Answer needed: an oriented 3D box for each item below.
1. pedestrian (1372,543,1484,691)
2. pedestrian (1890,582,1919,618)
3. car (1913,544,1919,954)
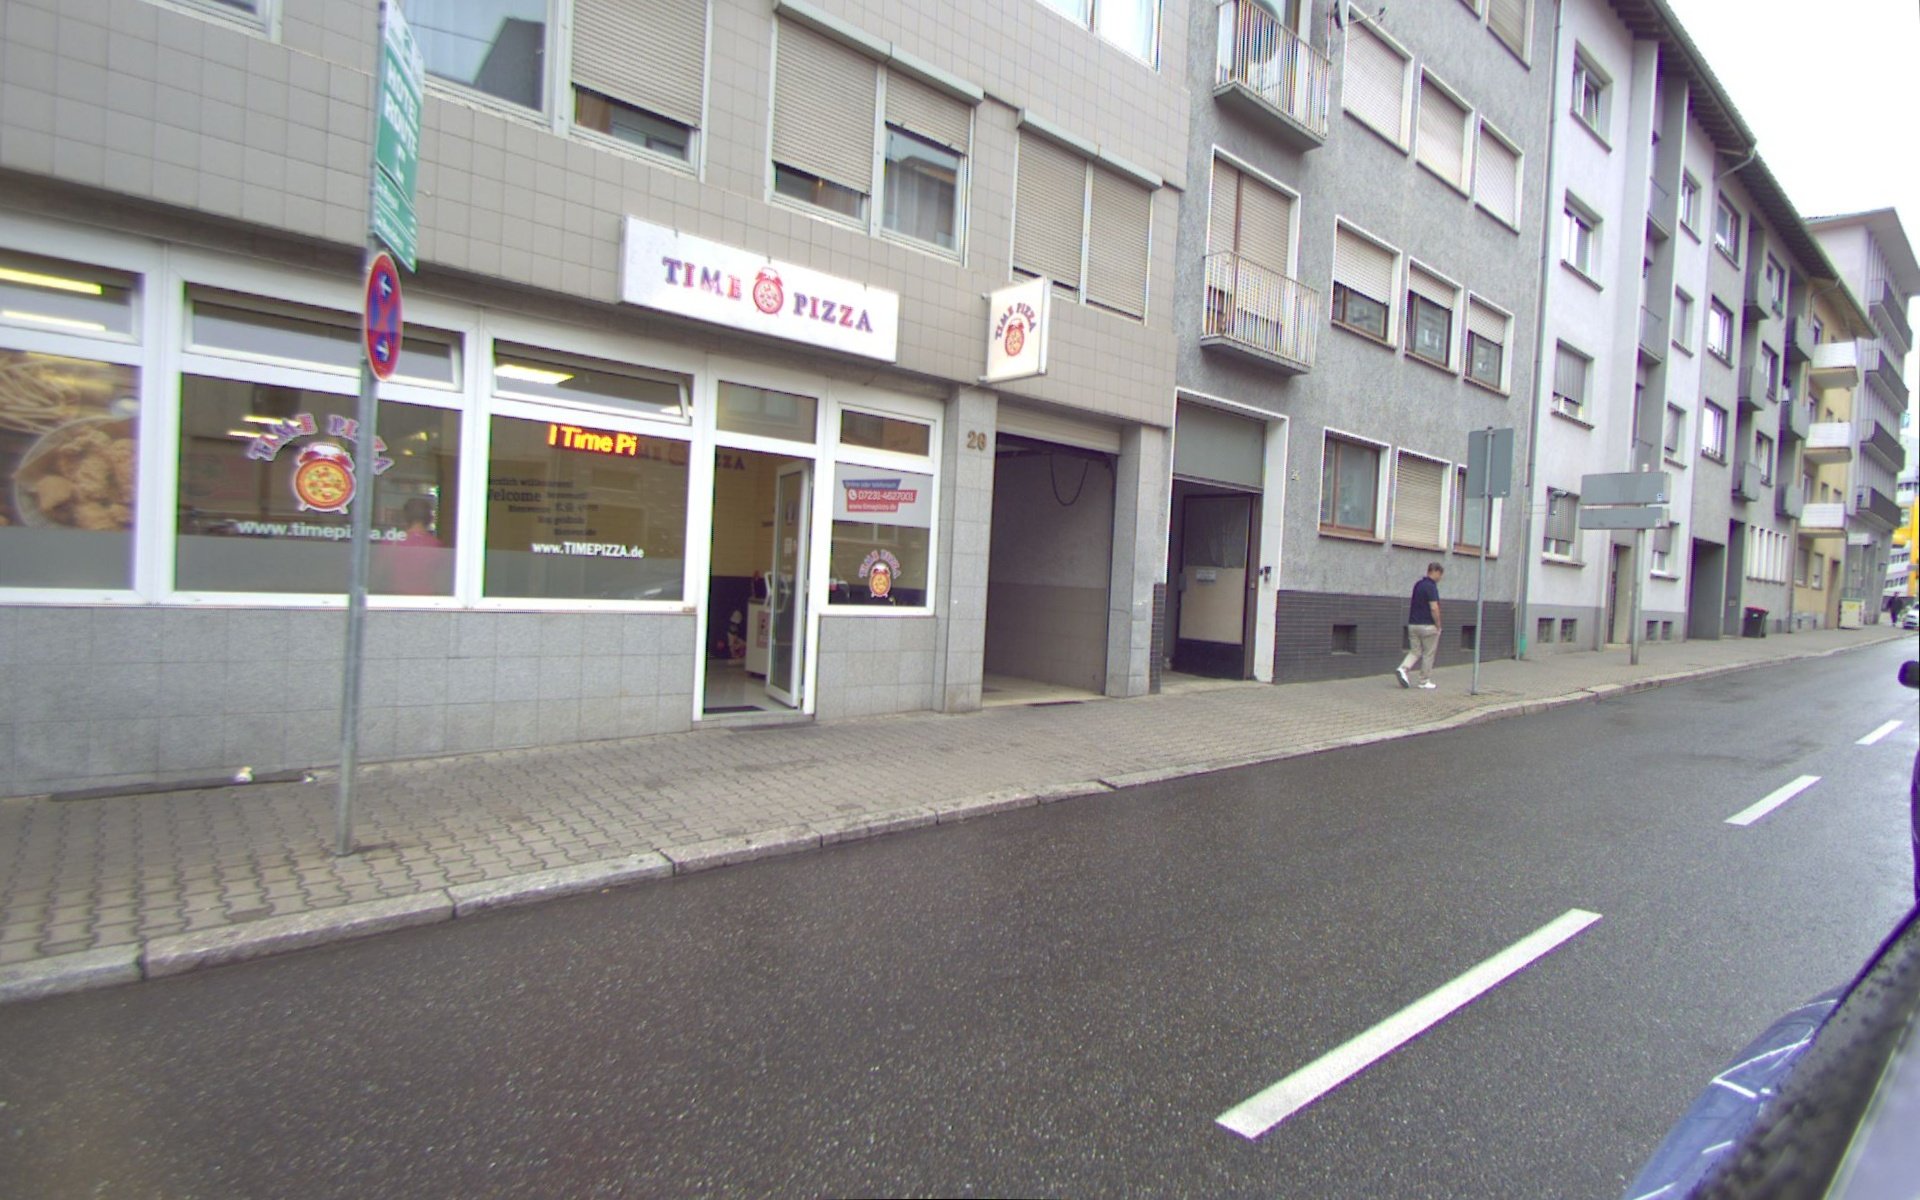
[{"bbox_3d":[6.440,0.200,13.932,1.100,1.887,0.871,-1,7,-41],"label":"pedestrian"},{"bbox_3d":[47.850,-0.009,51.168,1.117,1.772,0.946,4,3,44],"label":"pedestrian"},{"bbox_3d":[6.180,0.608,5.025,4.144,1.743,1.697,-1,1,-41],"label":"car"}]
